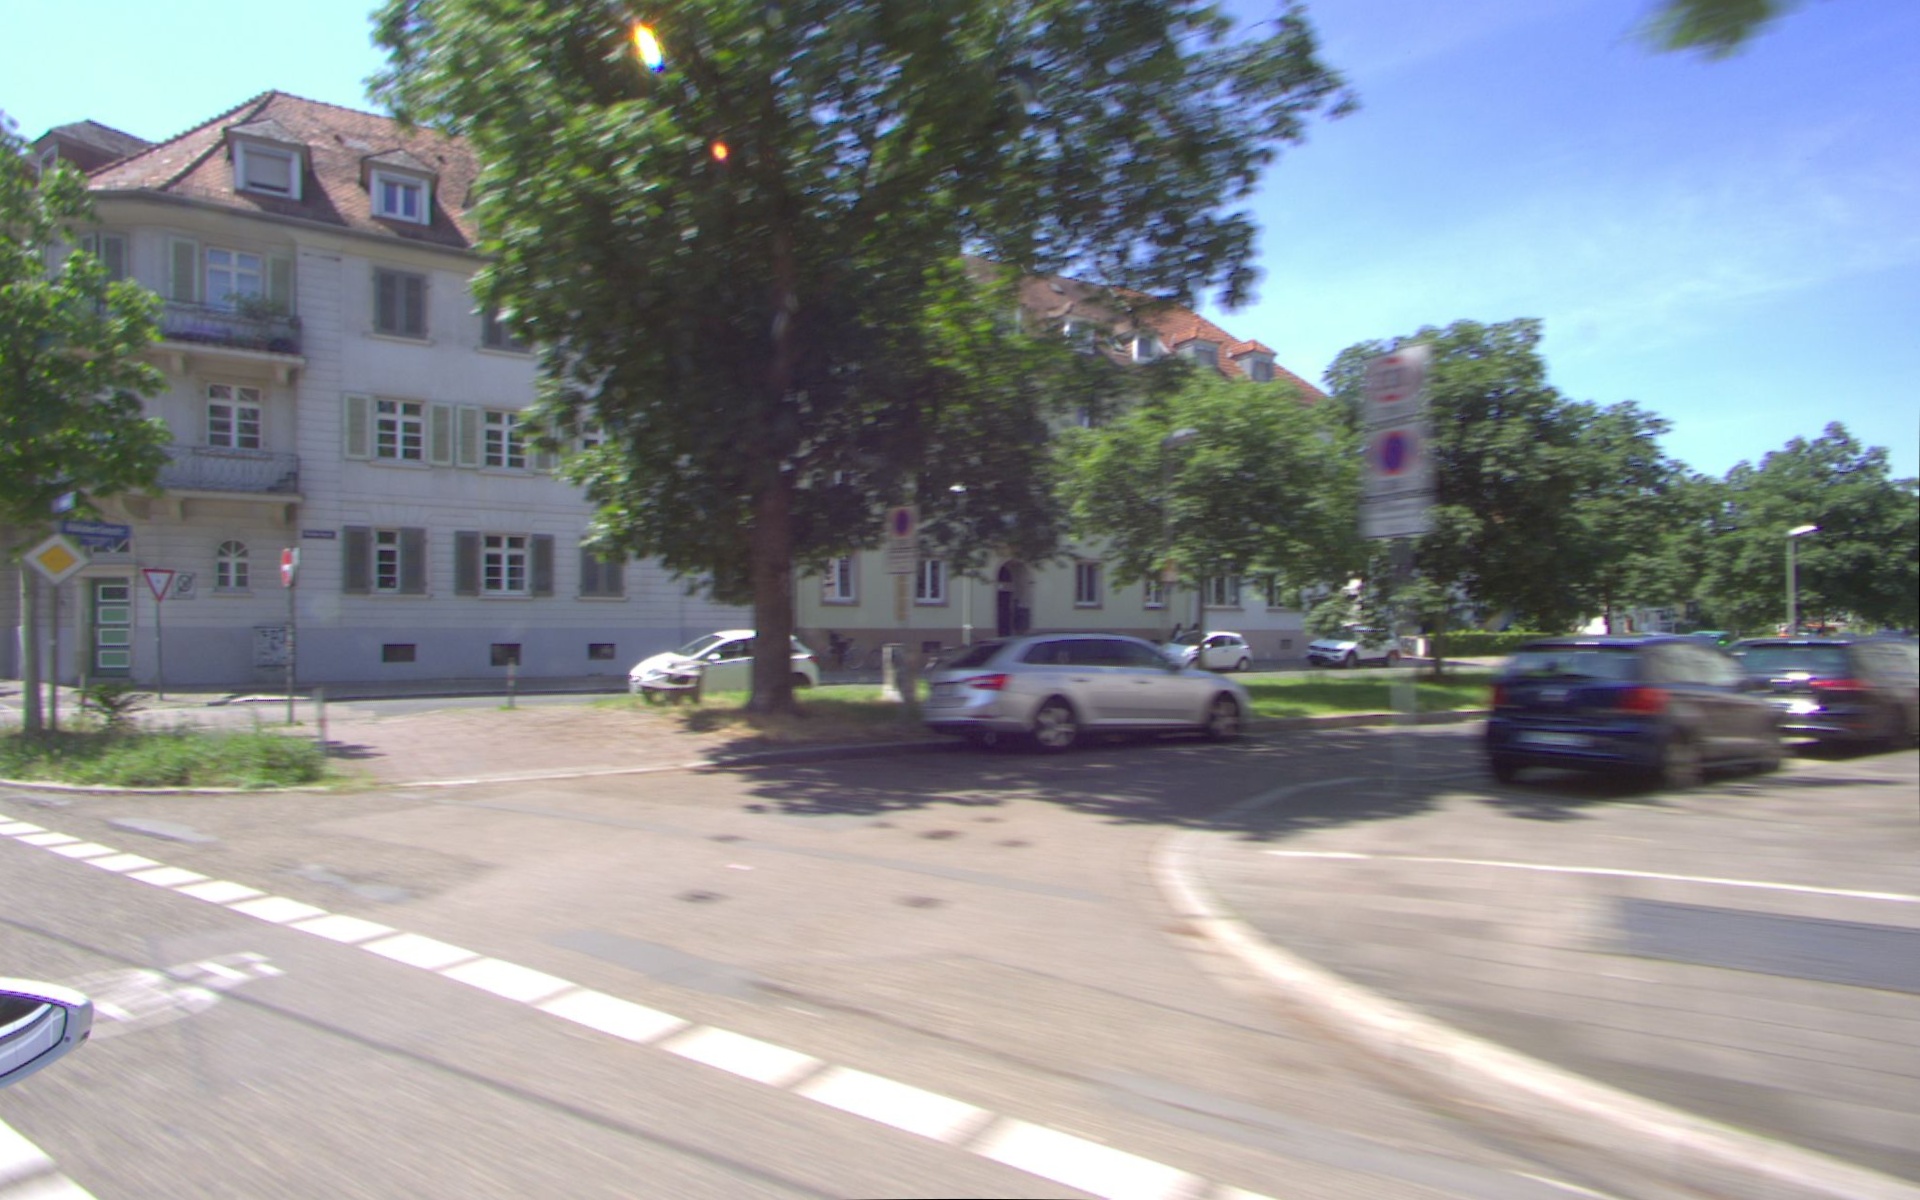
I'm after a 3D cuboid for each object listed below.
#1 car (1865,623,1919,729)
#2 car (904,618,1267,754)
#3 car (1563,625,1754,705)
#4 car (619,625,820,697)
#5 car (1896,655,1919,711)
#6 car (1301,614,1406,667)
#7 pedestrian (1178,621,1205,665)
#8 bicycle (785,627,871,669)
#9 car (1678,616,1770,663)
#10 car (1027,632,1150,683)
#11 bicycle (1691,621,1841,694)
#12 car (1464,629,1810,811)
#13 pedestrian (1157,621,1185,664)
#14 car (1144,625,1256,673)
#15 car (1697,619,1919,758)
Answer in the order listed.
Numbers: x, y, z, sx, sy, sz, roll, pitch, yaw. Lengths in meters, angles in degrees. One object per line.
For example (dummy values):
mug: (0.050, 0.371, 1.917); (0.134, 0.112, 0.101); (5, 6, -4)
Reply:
car: (16.304, 1.167, 15.870); (3.945, 1.599, 1.859); (1, -2, -31)
car: (1.742, 1.092, 13.286); (4.612, 1.534, 1.866); (3, -2, -31)
car: (15.298, 1.364, 21.904); (3.944, 1.602, 1.990); (1, -2, -31)
car: (-5.241, 1.269, 21.829); (3.941, 1.438, 1.845); (1, -1, -28)
car: (31.264, 2.592, 31.452); (3.843, 1.702, 1.755); (1, -2, -32)
car: (16.037, 1.636, 40.758); (4.268, 2.040, 1.630); (1, 0, -30)
pedestrian: (9.049, 1.670, 39.136); (0.791, 1.685, 0.665); (1, -2, -36)
bicycle: (-4.180, 1.508, 31.900); (2.694, 1.280, 0.665); (1, 1, -37)
car: (34.849, 1.798, 45.657); (3.943, 2.039, 1.990); (1, -2, -30)
car: (4.295, 1.876, 33.366); (3.943, 1.623, 1.577); (1, -2, -30)
bicycle: (20.113, 1.396, 24.952); (3.948, 1.666, 1.828); (1, -2, -34)
car: (6.818, 1.043, 9.966); (3.835, 1.465, 1.635); (1, -2, -36)
pedestrian: (8.325, 1.664, 39.580); (0.791, 1.639, 0.664); (1, 2, -35)
car: (8.699, 1.750, 36.271); (3.943, 1.642, 1.577); (1, -2, -30)
car: (11.433, 1.069, 12.812); (3.945, 1.521, 1.812); (1, -4, -31)
